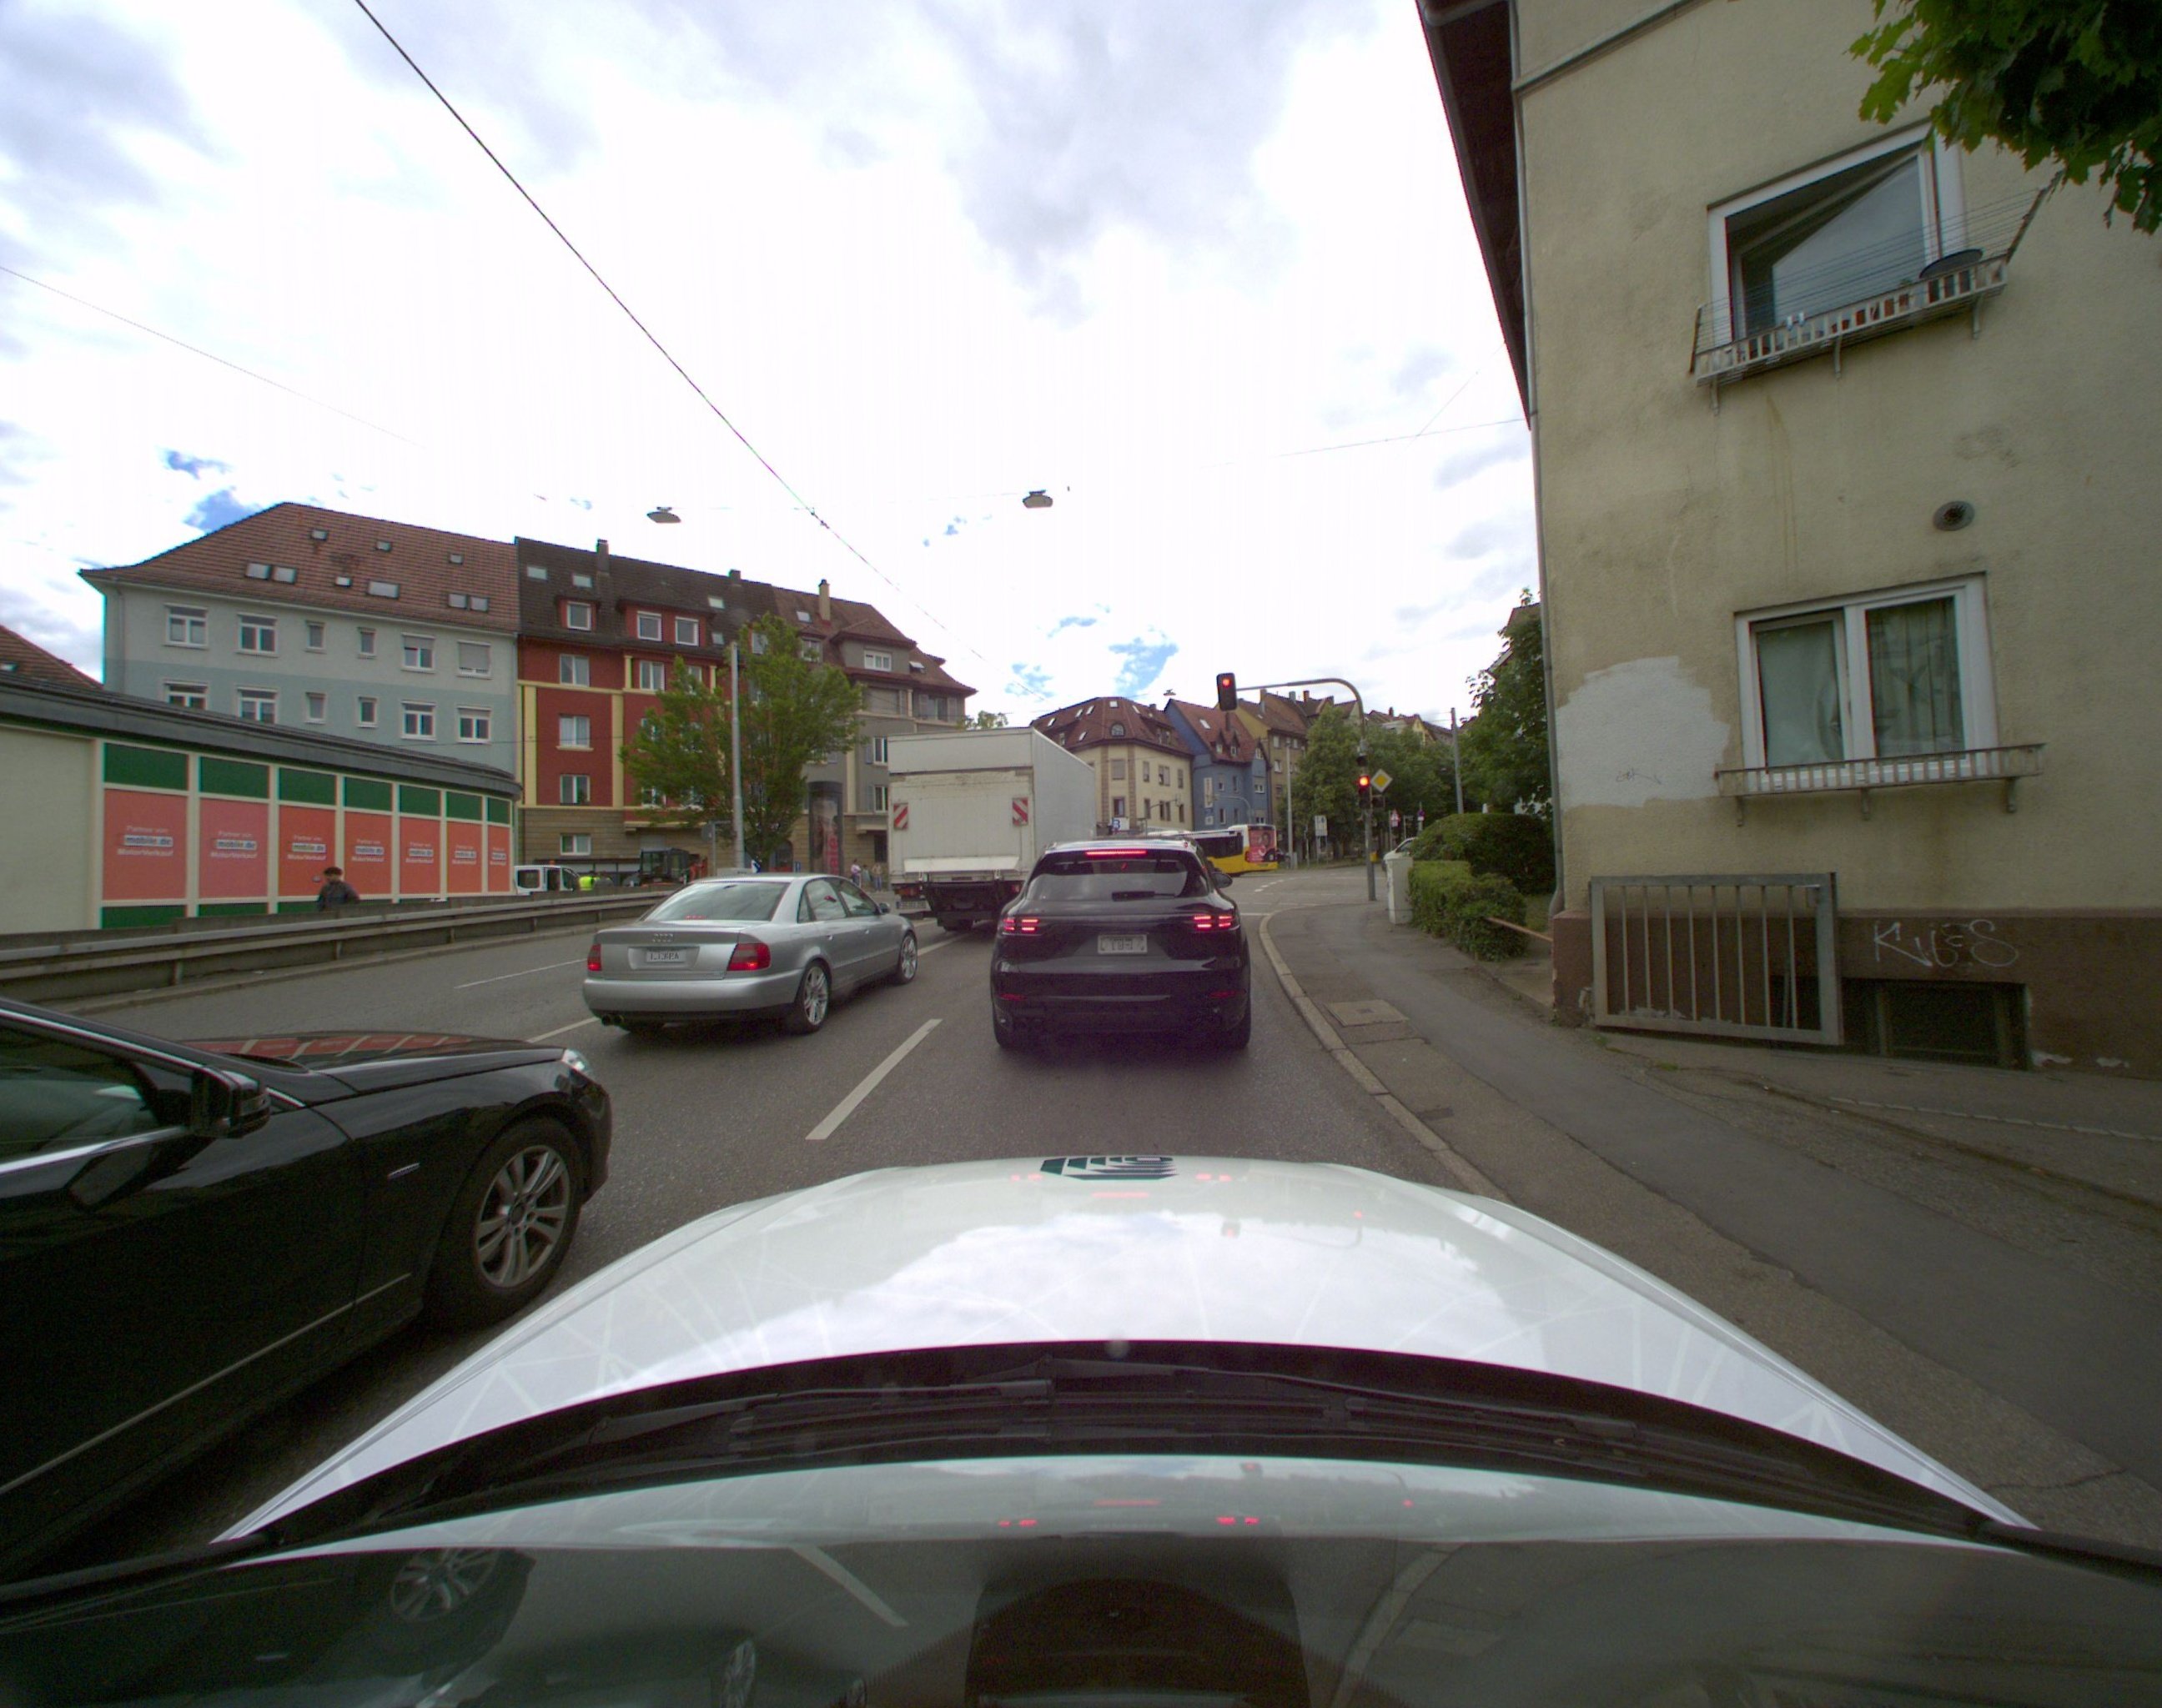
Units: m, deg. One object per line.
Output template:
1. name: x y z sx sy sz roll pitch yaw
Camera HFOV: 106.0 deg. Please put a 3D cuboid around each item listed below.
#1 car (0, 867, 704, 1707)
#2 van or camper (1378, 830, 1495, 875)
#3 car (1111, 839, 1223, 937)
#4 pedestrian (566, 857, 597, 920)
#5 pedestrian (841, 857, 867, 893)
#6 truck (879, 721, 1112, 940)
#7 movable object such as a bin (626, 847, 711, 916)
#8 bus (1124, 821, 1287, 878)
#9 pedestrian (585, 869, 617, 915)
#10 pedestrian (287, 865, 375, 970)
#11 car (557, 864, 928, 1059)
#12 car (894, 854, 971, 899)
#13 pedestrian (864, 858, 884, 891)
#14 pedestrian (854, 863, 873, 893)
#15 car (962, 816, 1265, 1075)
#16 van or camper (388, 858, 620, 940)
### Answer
1. car: -2.864 0.800 1.442 1.986 1.429 4.844 -1 0 2
2. van or camper: 16.876 -0.044 38.911 2.008 2.014 4.778 0 -1 -35
3. car: 1.677 0.557 14.863 1.638 1.556 3.595 -1 -1 12
4. pedestrian: -16.465 1.118 26.841 0.829 2.013 0.673 -1 0 -31
5. pedestrian: -10.223 0.946 36.721 0.785 1.546 0.743 -2 0 28
6. truck: -1.282 -0.385 17.530 2.708 3.544 8.445 0 0 10
7. movable object such as a bin: -13.152 0.835 26.148 1.375 2.013 3.524 -2 0 -10
8. bus: 7.589 -0.154 52.495 3.179 3.096 12.026 -2 -1 -32
9. pedestrian: -14.692 1.160 24.920 0.594 1.363 0.630 -2 0 35
10. pedestrian: -12.182 1.005 13.250 0.687 1.637 0.777 -2 0 -6
11. car: -2.963 0.847 8.212 1.620 1.365 4.135 -2 0 6
12. car: -5.533 0.814 30.765 1.587 1.517 3.470 -3 0 11
13. pedestrian: -9.633 0.956 37.917 0.517 1.487 0.658 -2 0 30
14. pedestrian: -9.958 1.083 37.348 0.569 1.338 0.588 -2 0 30
15. car: 0.395 0.609 7.727 2.022 1.723 4.506 0 0 5
16. van or camper: -18.993 1.377 27.258 6.028 2.338 2.661 -1 0 -33
